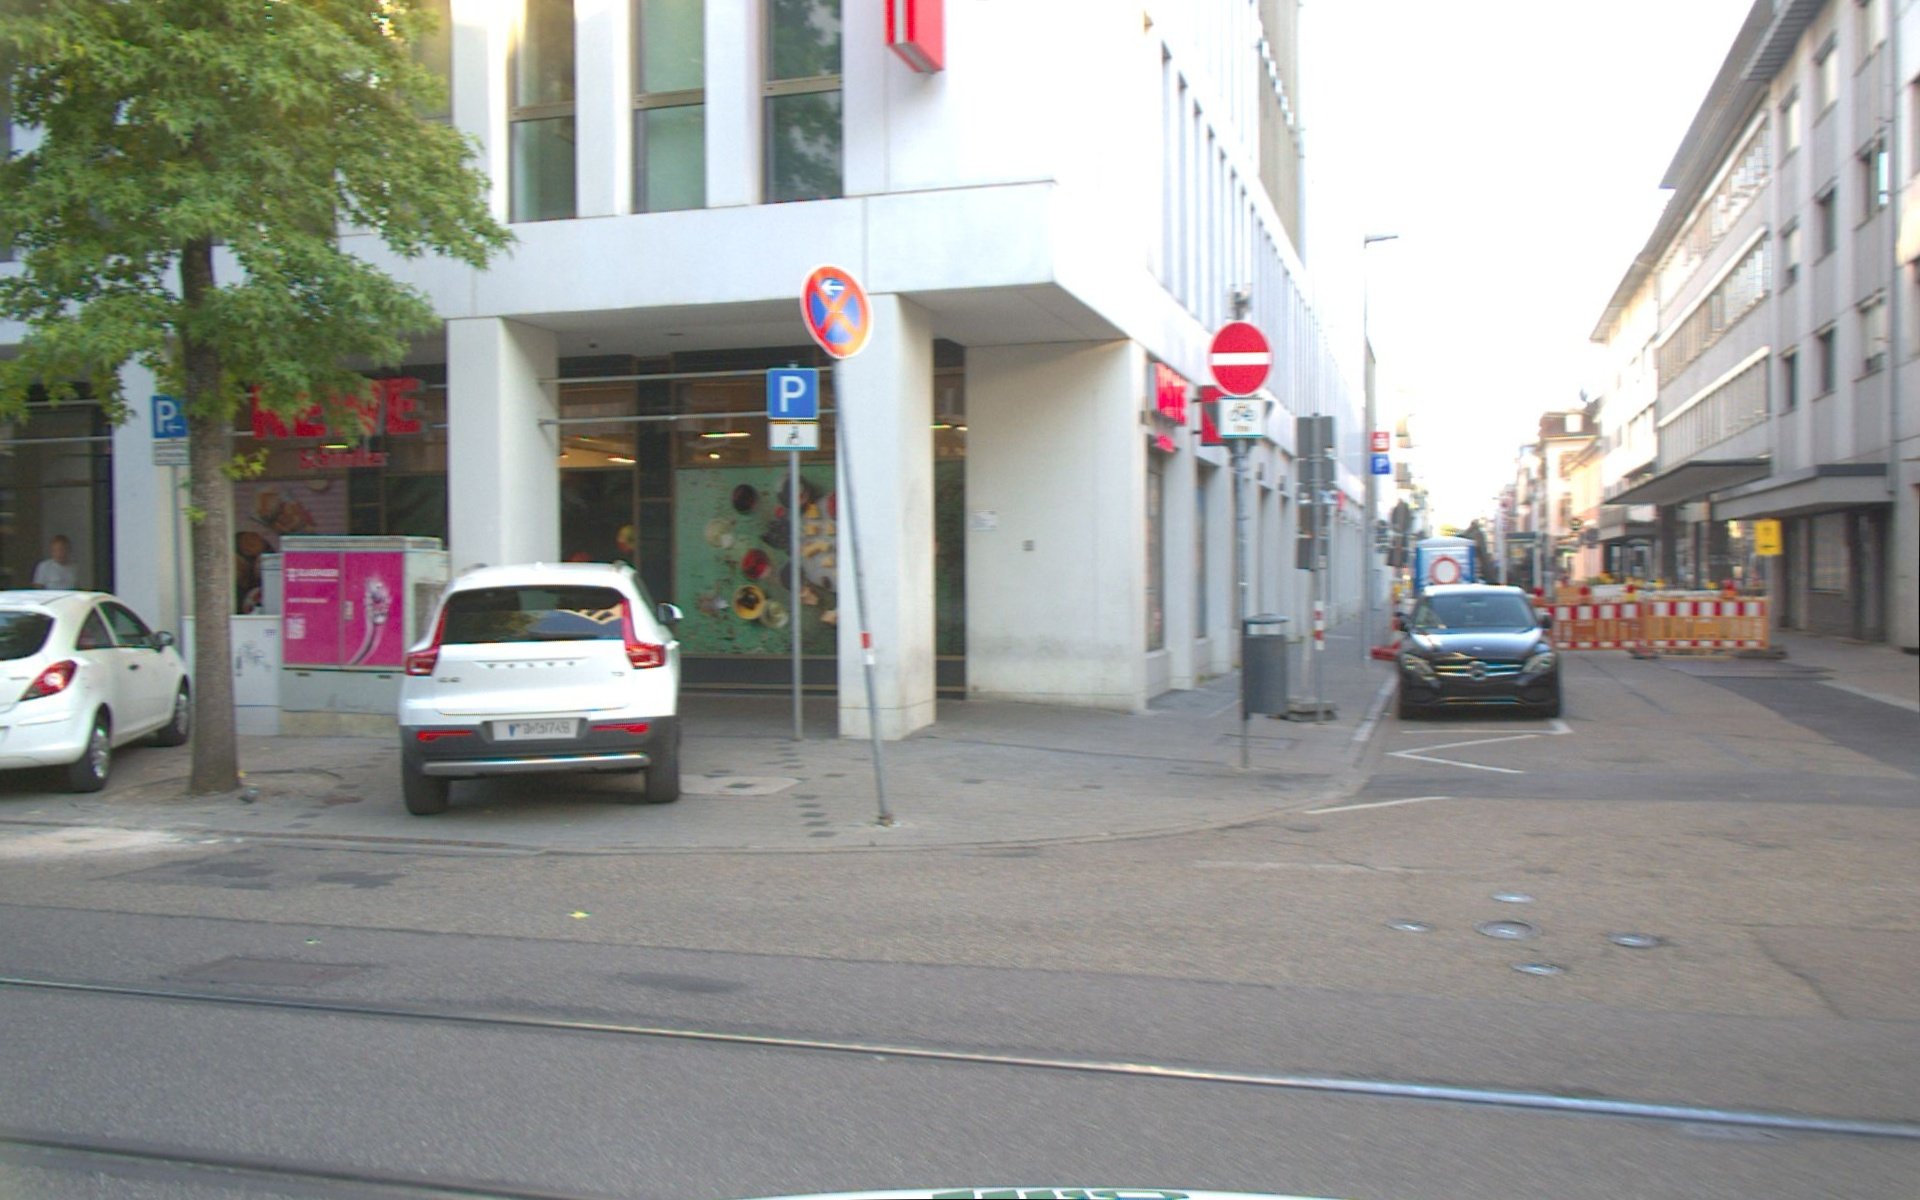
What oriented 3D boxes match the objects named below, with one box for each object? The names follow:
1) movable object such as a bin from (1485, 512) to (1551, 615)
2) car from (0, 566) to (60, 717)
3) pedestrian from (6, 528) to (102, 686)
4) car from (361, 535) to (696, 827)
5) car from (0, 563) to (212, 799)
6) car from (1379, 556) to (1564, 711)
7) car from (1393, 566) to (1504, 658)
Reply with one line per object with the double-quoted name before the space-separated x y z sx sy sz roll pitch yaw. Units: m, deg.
"movable object such as a bin" 14.124 -0.920 41.822 1.408 2.537 1.757 0 1 25
"car" -10.335 0.510 15.397 1.787 1.447 4.347 -1 3 -5
"pedestrian" -10.590 0.068 19.339 0.788 1.802 0.680 1 0 32
"car" -3.064 0.422 12.627 1.909 1.700 4.266 -3 3 -8
"car" -7.574 0.557 13.559 1.759 1.527 4.056 -2 3 -12
"car" 6.116 0.340 19.723 1.857 1.640 4.154 -1 0 18
"car" 8.746 0.176 29.445 1.736 1.501 4.154 -1 0 18
